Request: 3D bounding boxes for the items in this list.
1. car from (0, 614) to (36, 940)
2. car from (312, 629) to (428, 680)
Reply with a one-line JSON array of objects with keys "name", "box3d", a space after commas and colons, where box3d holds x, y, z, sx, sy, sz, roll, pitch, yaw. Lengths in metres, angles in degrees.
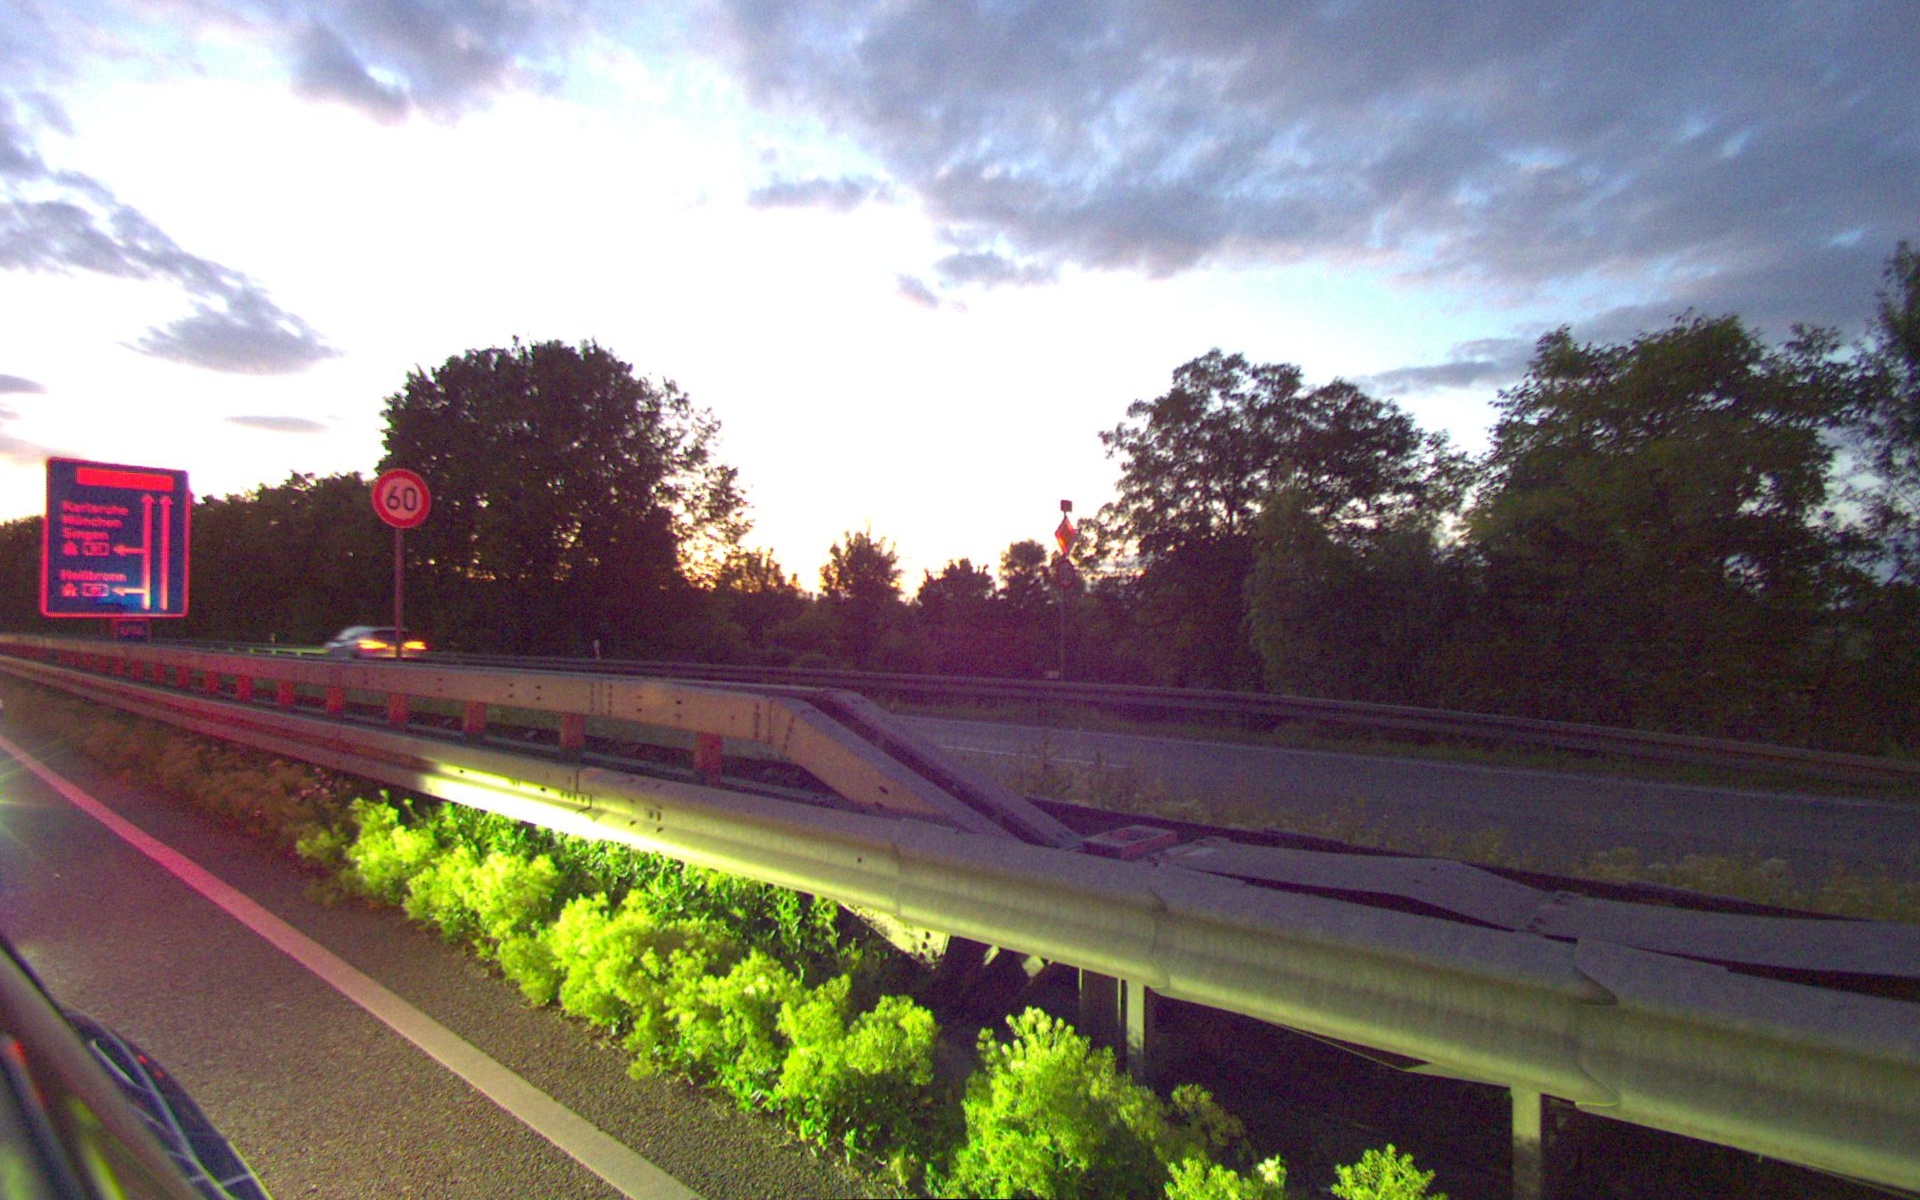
[{"name": "car", "box3d": [-6.640, 0.853, 5.485, 4.511, 1.492, 1.877, -1, -1, 40]}, {"name": "car", "box3d": [-19.065, 1.698, 32.635, 4.295, 1.530, 1.973, -2, -2, 41]}]
